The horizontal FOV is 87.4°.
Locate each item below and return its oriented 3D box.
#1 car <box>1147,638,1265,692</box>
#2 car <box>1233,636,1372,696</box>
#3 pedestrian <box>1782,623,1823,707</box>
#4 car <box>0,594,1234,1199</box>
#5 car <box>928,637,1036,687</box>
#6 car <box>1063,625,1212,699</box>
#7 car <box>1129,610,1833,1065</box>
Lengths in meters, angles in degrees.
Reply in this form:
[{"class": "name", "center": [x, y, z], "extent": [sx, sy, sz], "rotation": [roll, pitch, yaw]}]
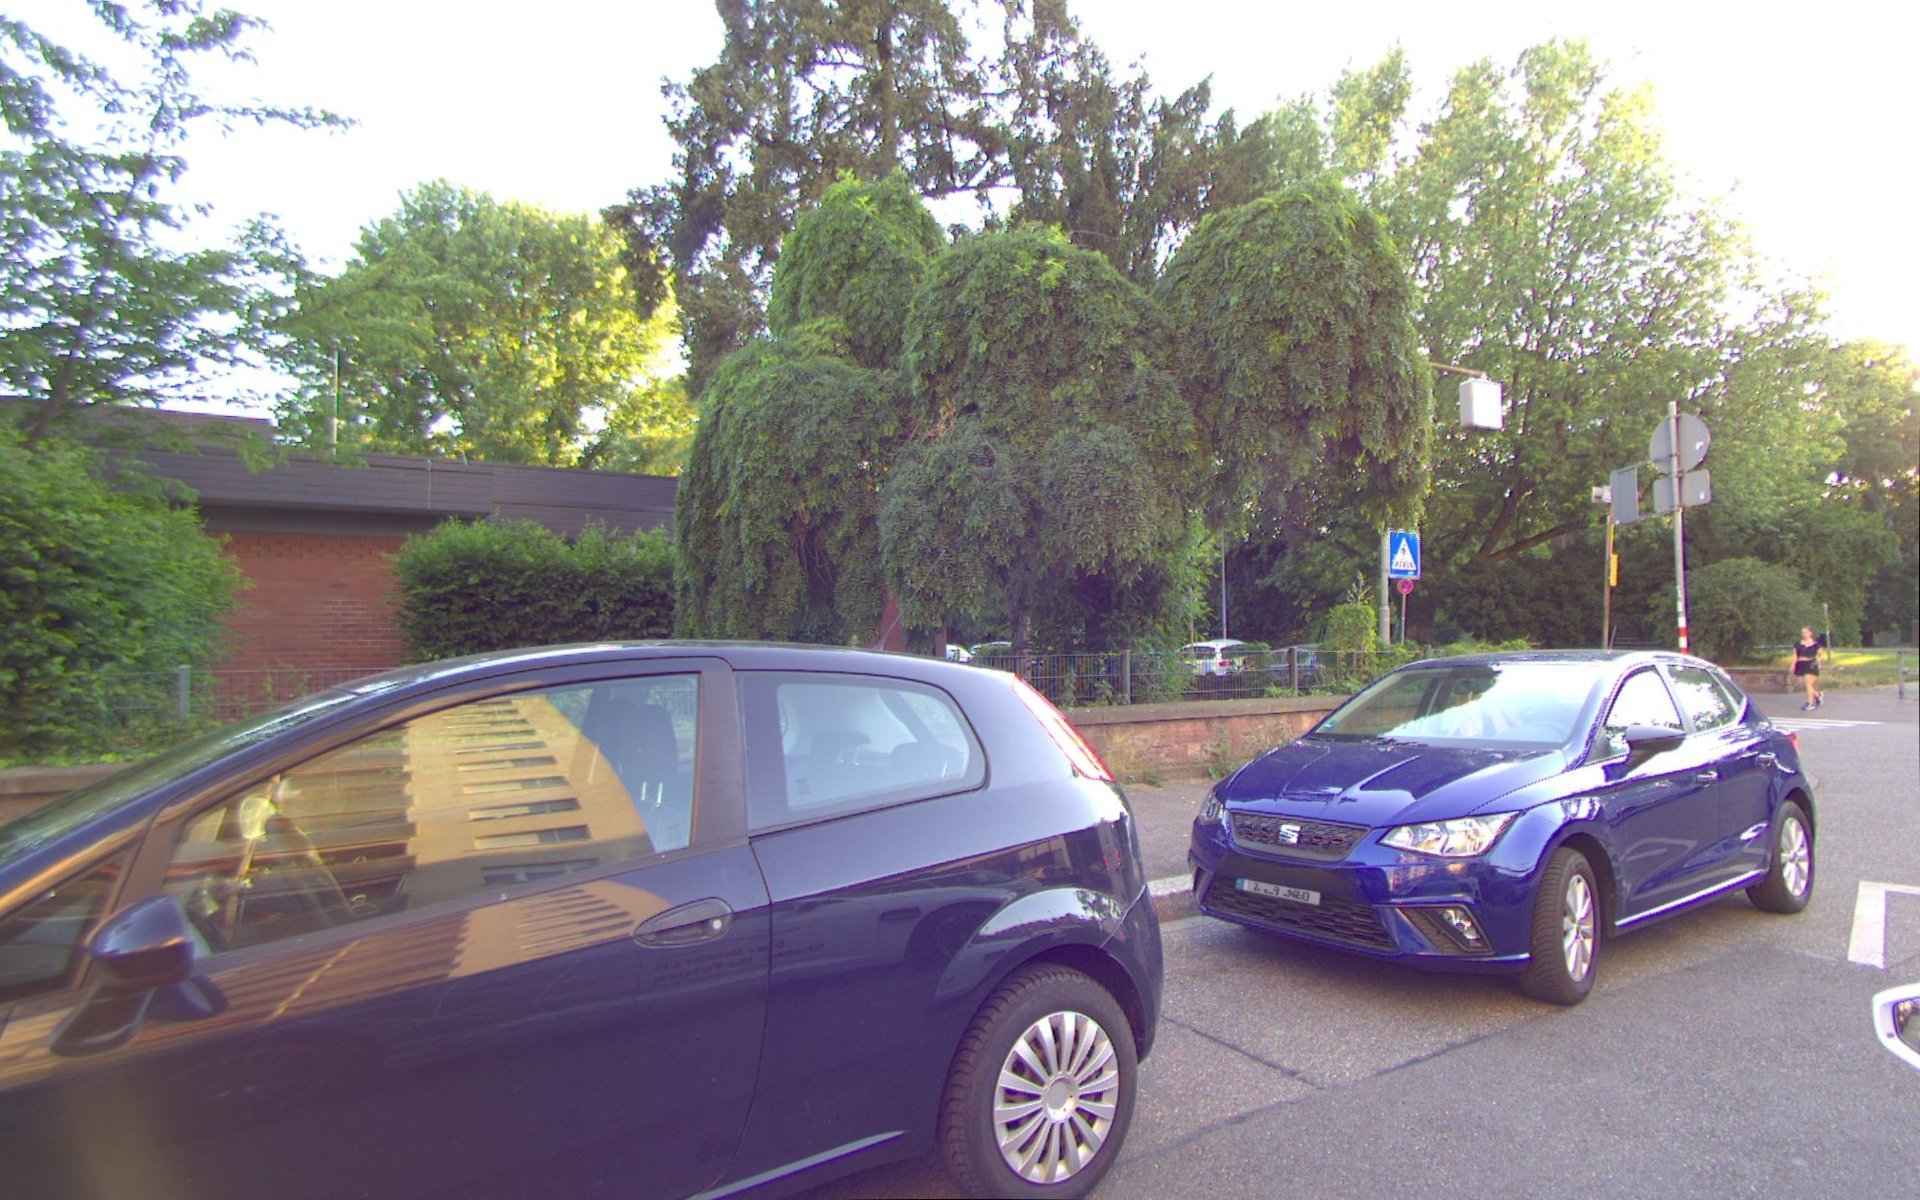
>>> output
[{"class": "car", "center": [8.513, 2.242, 35.114], "extent": [1.800, 1.583, 3.856], "rotation": [-6, 0, -27]}, {"class": "car", "center": [10.397, 1.987, 30.743], "extent": [1.798, 1.511, 3.843], "rotation": [-6, 0, -24]}, {"class": "pedestrian", "center": [17.214, 1.315, 20.533], "extent": [0.639, 1.671, 0.670], "rotation": [0, 0, 40]}, {"class": "car", "center": [-1.212, 0.848, 2.600], "extent": [3.659, 1.587, 1.723], "rotation": [1, -4, -34]}, {"class": "car", "center": [0.687, 2.142, 34.418], "extent": [1.801, 1.564, 4.211], "rotation": [4, -5, -28]}, {"class": "car", "center": [4.809, 1.734, 27.785], "extent": [1.801, 1.821, 4.211], "rotation": [4, -5, -28]}, {"class": "car", "center": [2.874, 0.910, 5.326], "extent": [3.752, 1.587, 1.723], "rotation": [1, -4, -35]}]
